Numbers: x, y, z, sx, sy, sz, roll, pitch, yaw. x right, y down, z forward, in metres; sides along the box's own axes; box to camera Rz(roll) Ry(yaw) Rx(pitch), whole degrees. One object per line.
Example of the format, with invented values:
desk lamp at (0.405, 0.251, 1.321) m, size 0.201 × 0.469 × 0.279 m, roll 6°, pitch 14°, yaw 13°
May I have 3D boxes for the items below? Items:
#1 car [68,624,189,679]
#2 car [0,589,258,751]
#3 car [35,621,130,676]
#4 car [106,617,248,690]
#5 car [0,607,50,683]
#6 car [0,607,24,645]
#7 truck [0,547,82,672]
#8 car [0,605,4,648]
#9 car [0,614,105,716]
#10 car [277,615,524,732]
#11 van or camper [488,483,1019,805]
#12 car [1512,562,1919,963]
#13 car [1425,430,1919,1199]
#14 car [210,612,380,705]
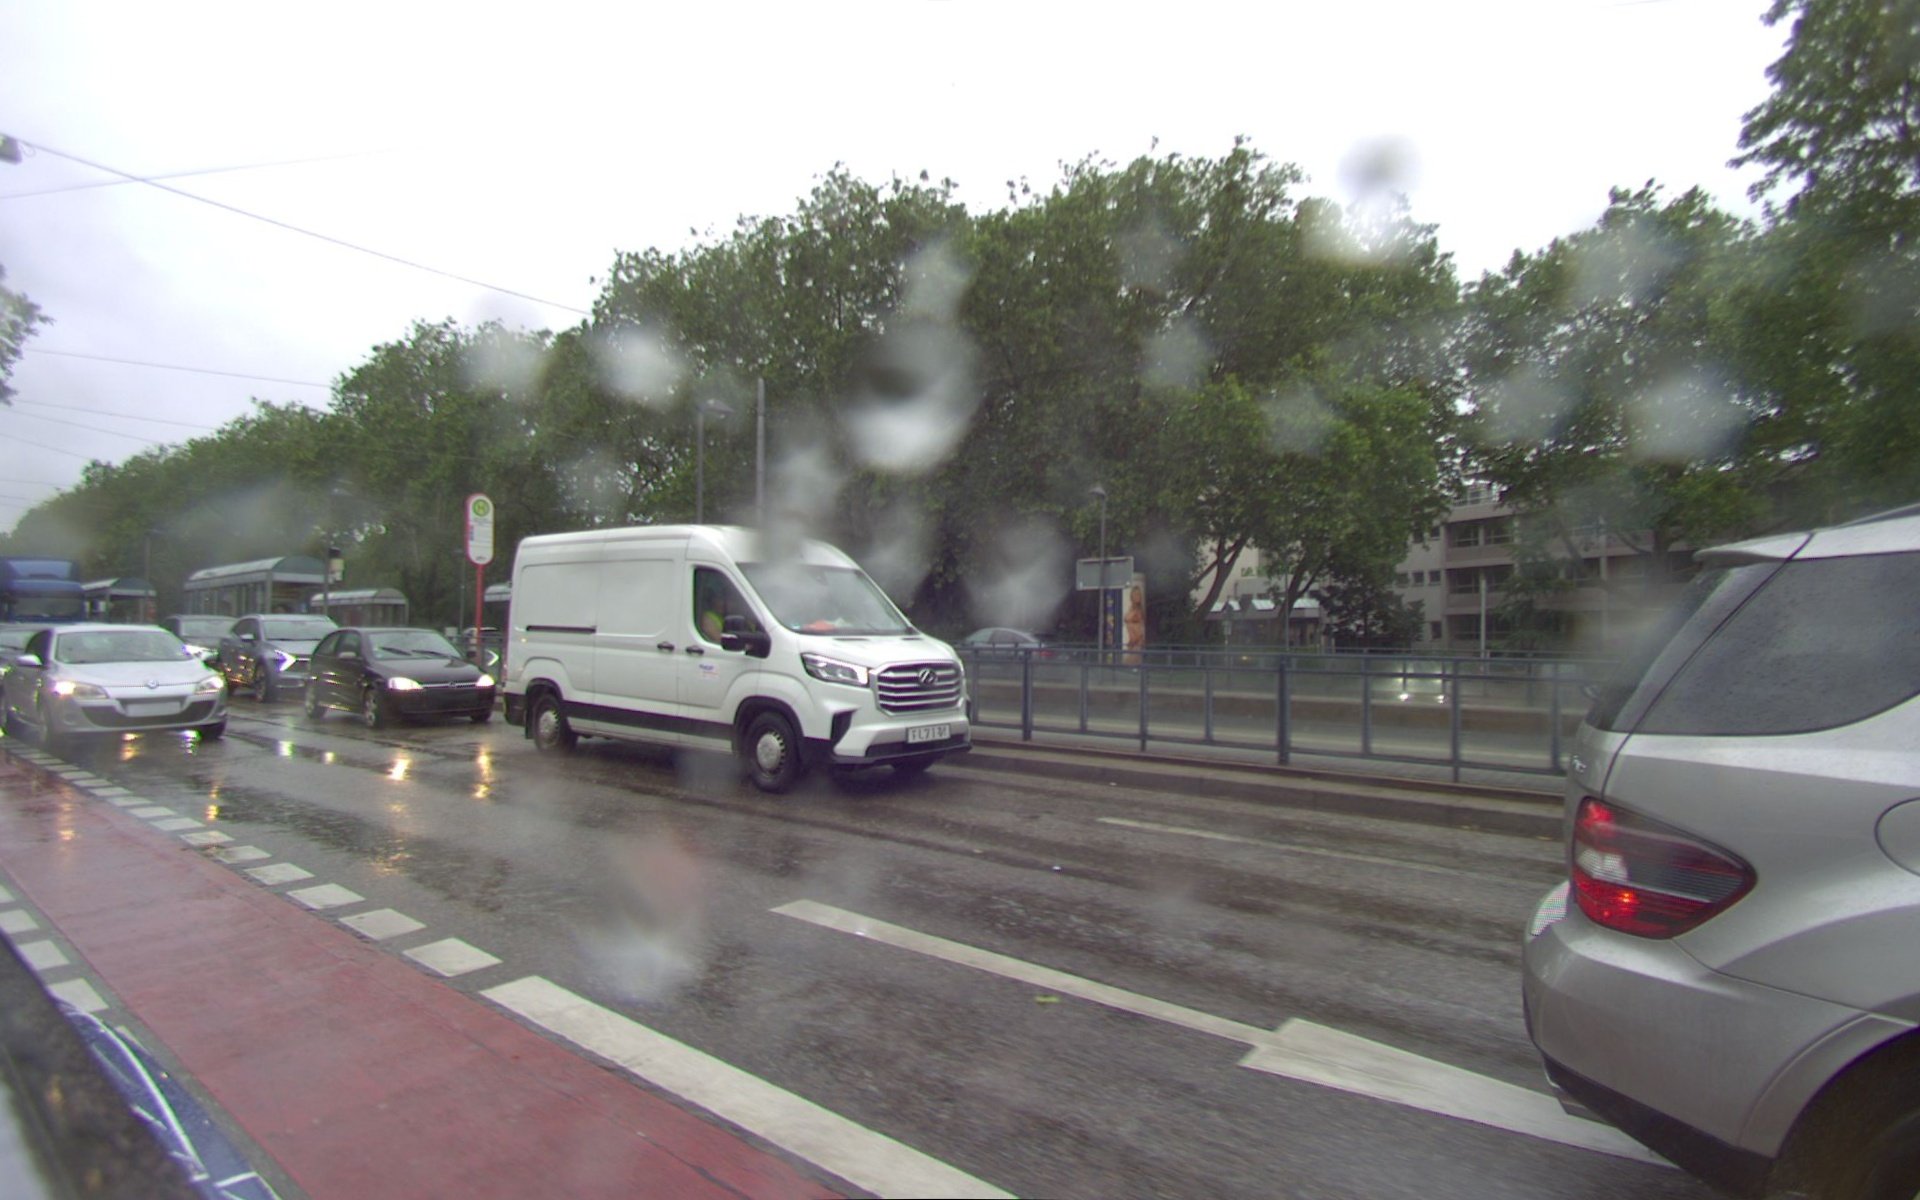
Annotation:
car at (-23.569, 1.445, 28.651) m, size 4.186 × 1.418 × 1.889 m, roll -3°, pitch -2°, yaw 39°
car at (-10.908, 0.841, 13.050) m, size 4.262 × 1.755 × 1.951 m, roll -3°, pitch -2°, yaw 39°
car at (-28.222, 1.548, 32.515) m, size 4.191 × 1.659 × 1.887 m, roll -3°, pitch -2°, yaw 43°
car at (-19.404, 1.295, 25.023) m, size 4.186 × 1.659 × 1.889 m, roll -3°, pitch -2°, yaw 39°
car at (-22.582, 1.047, 23.391) m, size 4.190 × 1.659 × 1.887 m, roll -3°, pitch -2°, yaw 42°
car at (-44.678, 1.191, 46.523) m, size 3.997 × 1.729 × 1.973 m, roll -1°, pitch 0°, yaw 40°
truck at (-35.676, 0.474, 38.373) m, size 8.347 × 4.309 × 2.386 m, roll -3°, pitch -2°, yaw 40°
car at (-50.461, 1.340, 51.434) m, size 5.452 × 2.166 × 2.313 m, roll -1°, pitch 0°, yaw 42°
car at (-16.202, 1.082, 17.263) m, size 4.665 × 1.561 × 1.887 m, roll -3°, pitch -2°, yaw 42°
car at (-8.590, 1.052, 15.364) m, size 4.552 × 1.525 × 1.763 m, roll -3°, pitch -2°, yaw 40°
van or camper at (-2.435, 0.449, 10.557) m, size 5.964 × 2.490 × 2.153 m, roll -2°, pitch -3°, yaw 39°
car at (4.864, 0.645, 4.317) m, size 4.073 × 1.599 × 1.782 m, roll -3°, pitch -3°, yaw 42°
car at (3.430, 0.497, 1.441) m, size 4.676 × 1.659 × 1.889 m, roll -3°, pitch -2°, yaw 40°
car at (-13.181, 1.116, 19.957) m, size 4.247 × 1.647 × 1.823 m, roll -3°, pitch -2°, yaw 42°
